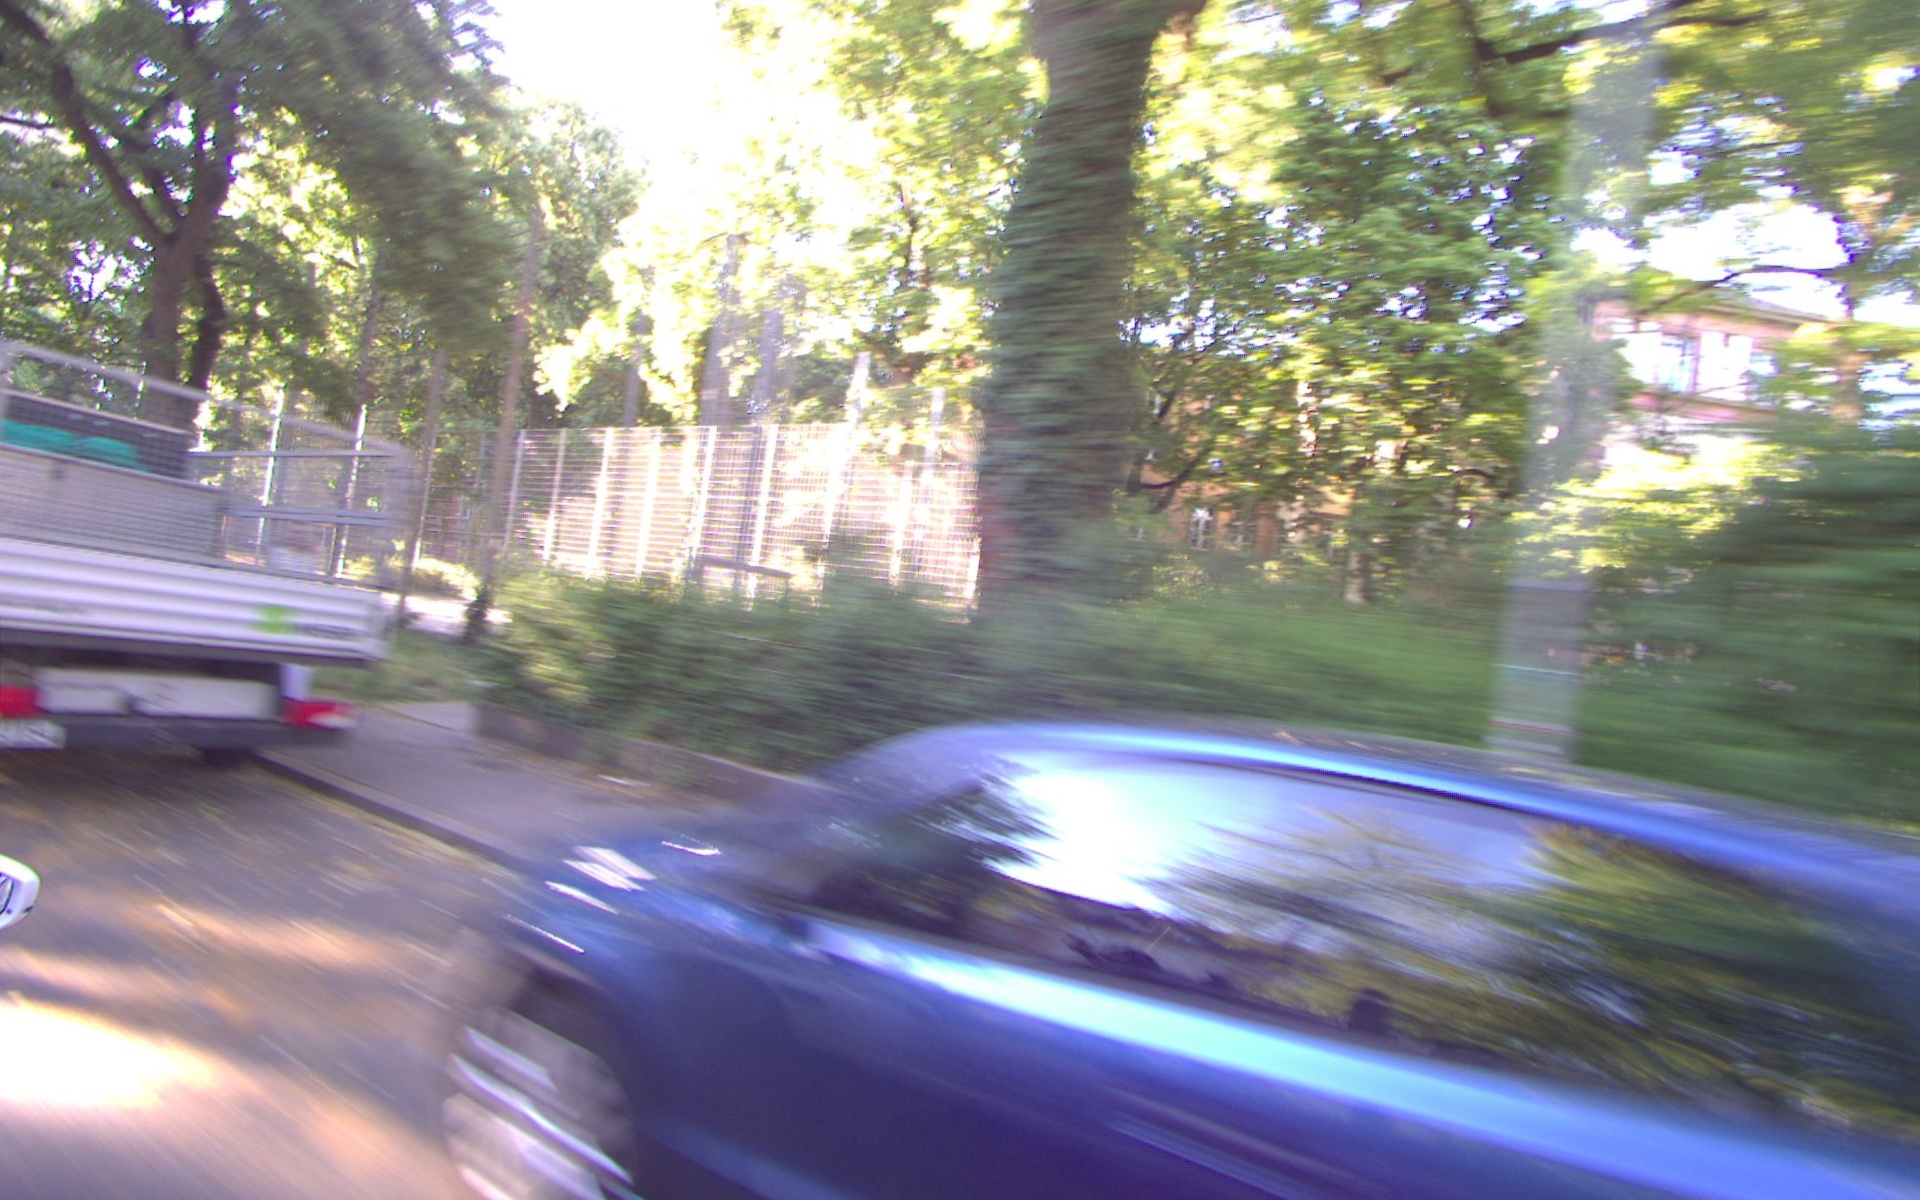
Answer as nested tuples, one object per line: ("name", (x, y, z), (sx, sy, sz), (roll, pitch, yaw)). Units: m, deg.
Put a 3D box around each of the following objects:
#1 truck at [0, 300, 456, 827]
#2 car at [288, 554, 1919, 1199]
("truck", (-6.797, -0.339, 7.259), (6.822, 2.413, 2.300), (6, -3, 33))
("car", (0.282, 0.871, 2.488), (3.829, 1.475, 1.676), (6, -3, 32))
